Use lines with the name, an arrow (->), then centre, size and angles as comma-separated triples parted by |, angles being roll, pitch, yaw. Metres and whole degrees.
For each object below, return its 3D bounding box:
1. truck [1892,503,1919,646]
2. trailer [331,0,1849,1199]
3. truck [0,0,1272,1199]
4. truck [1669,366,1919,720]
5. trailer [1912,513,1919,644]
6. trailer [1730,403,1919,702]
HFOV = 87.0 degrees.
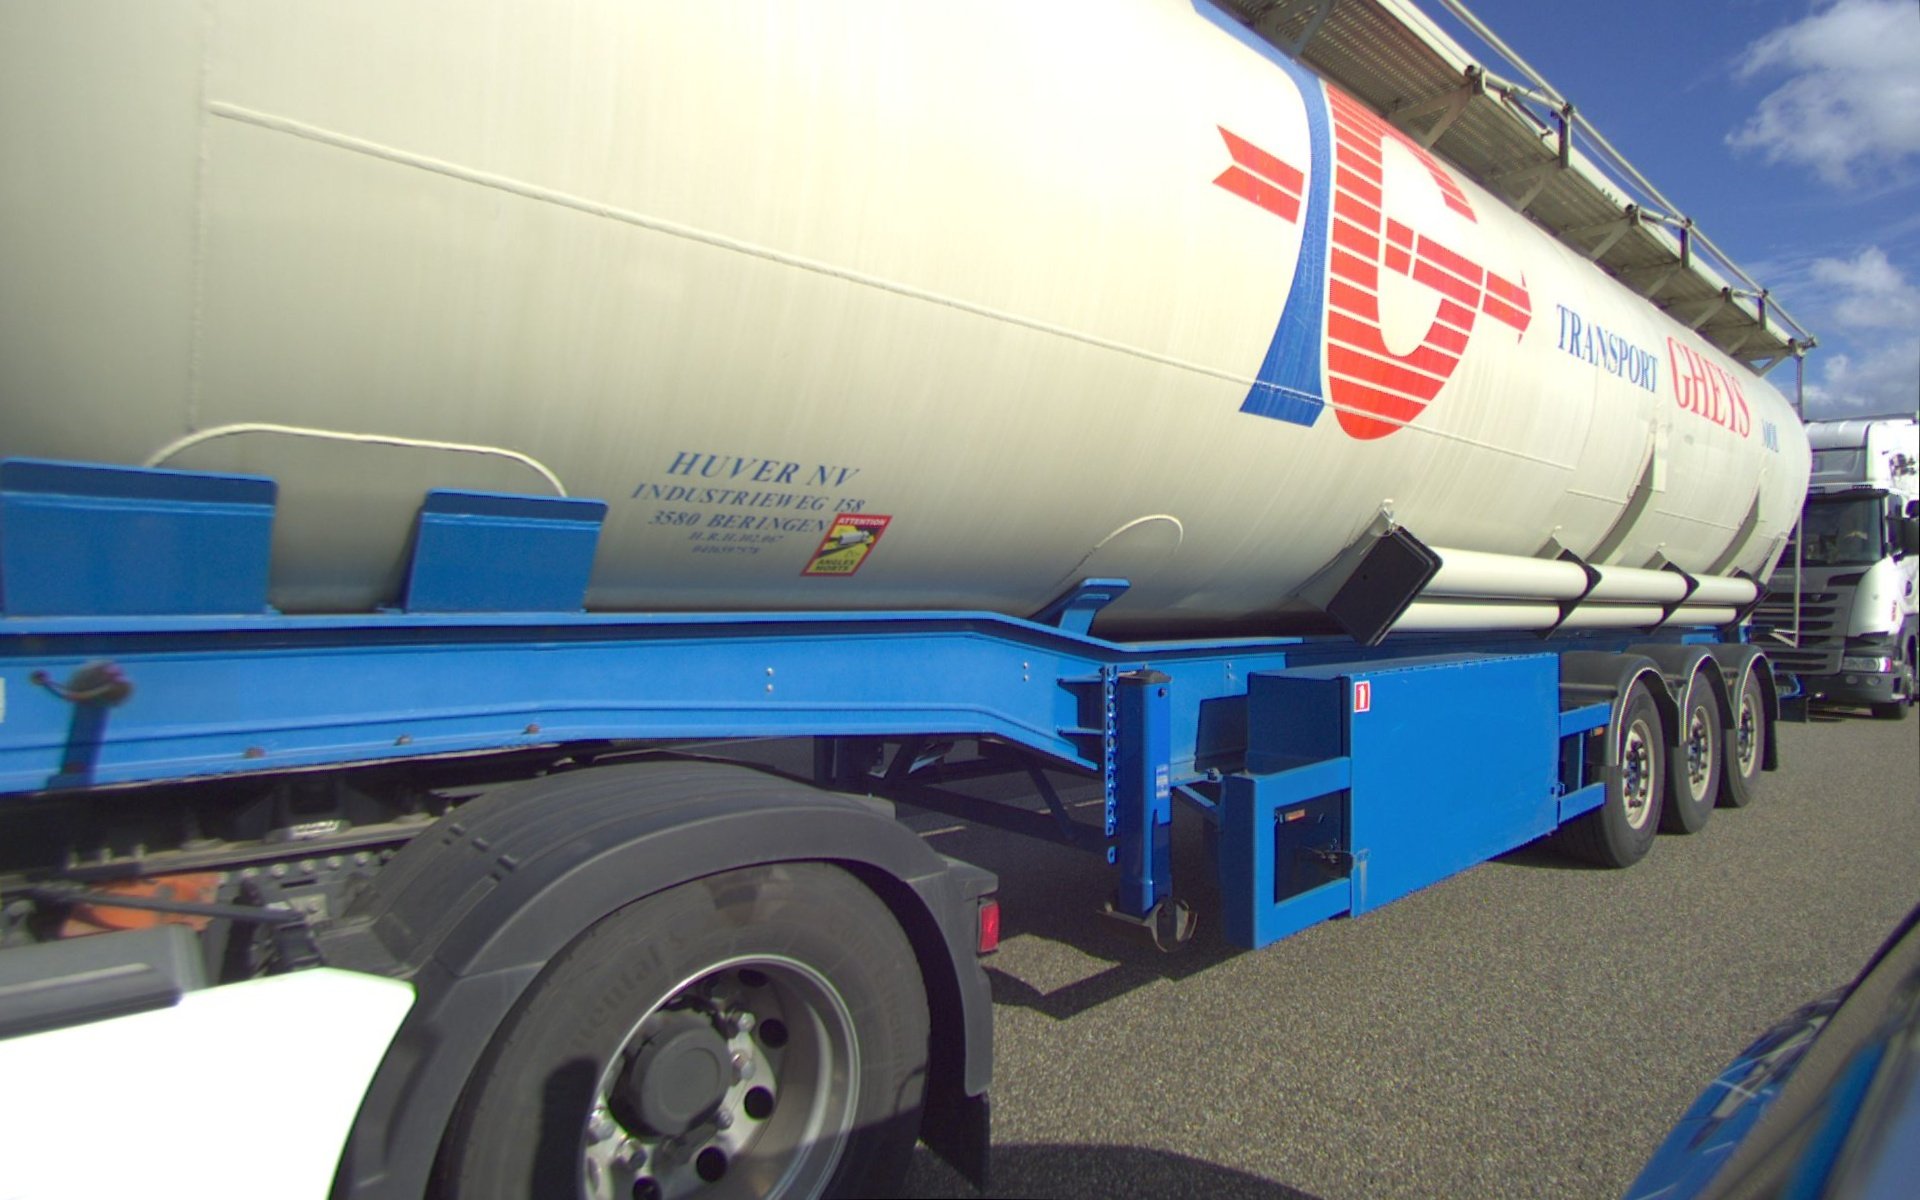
truck -> 29.777, -0.682, 29.870 | 5.850, 4.033, 2.633 | 1, 0, -40
trailer -> 2.740, -0.646, 6.219 | 10.980, 3.984, 2.650 | -1, 1, -41
truck -> -2.576, -0.596, 1.627 | 6.819, 3.974, 2.654 | 0, 1, -40
truck -> 12.519, -0.661, 14.491 | 5.997, 4.071, 2.370 | 0, 0, -40
trailer -> 35.376, -0.666, 34.655 | 13.130, 4.051, 2.623 | 0, 0, -40
trailer -> 17.809, -0.673, 18.956 | 14.045, 4.047, 2.333 | 0, 1, -40
